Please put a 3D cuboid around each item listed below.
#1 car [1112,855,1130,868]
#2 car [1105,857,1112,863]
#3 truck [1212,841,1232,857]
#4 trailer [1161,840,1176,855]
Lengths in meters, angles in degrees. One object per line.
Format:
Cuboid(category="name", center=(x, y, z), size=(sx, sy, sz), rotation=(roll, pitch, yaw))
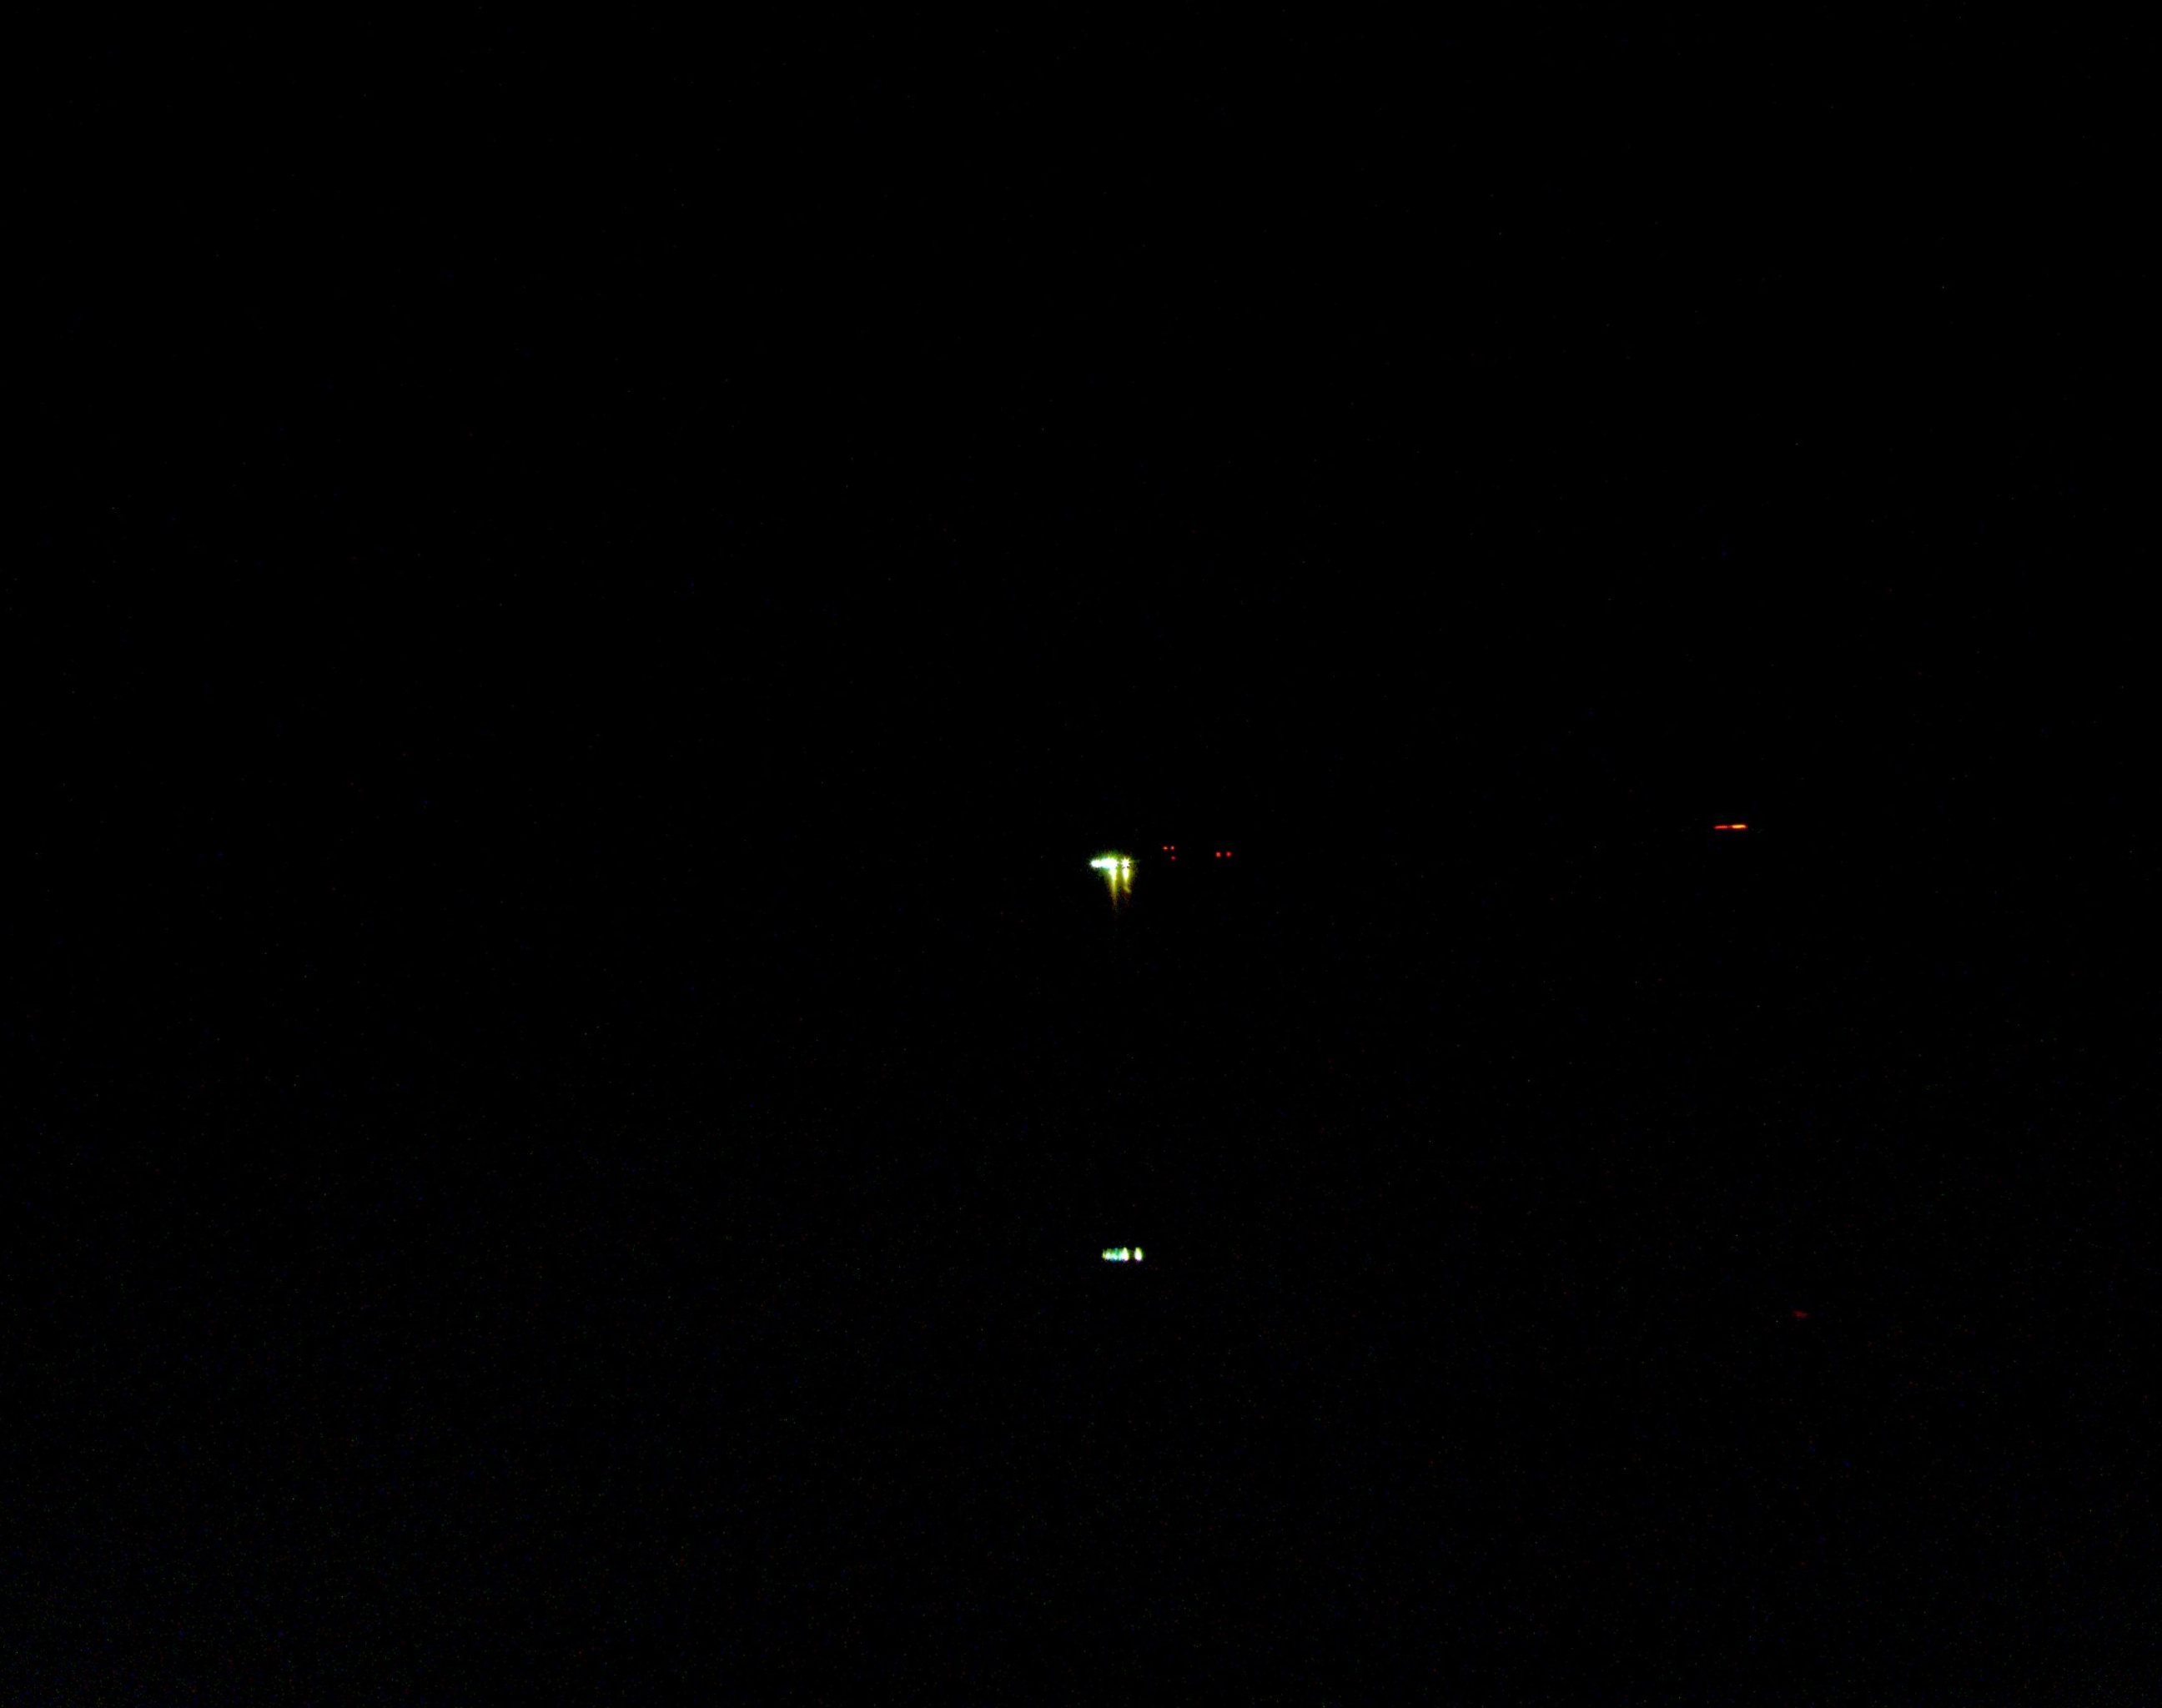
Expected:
Cuboid(category="car", center=(4.938, 0.939, 93.554), size=(1.998, 1.422, 4.330), rotation=(-5, 0, 2))
Cuboid(category="car", center=(8.525, 1.917, 237.905), size=(1.999, 1.724, 4.222), rotation=(-1, 2, -2))
Cuboid(category="truck", center=(25.204, -0.840, 136.369), size=(2.202, 2.710, 7.625), rotation=(-5, 0, 2))
Cuboid(category="trailer", center=(28.059, -2.060, 244.242), size=(3.333, 4.407, 14.026), rotation=(-3, 0, 2))
